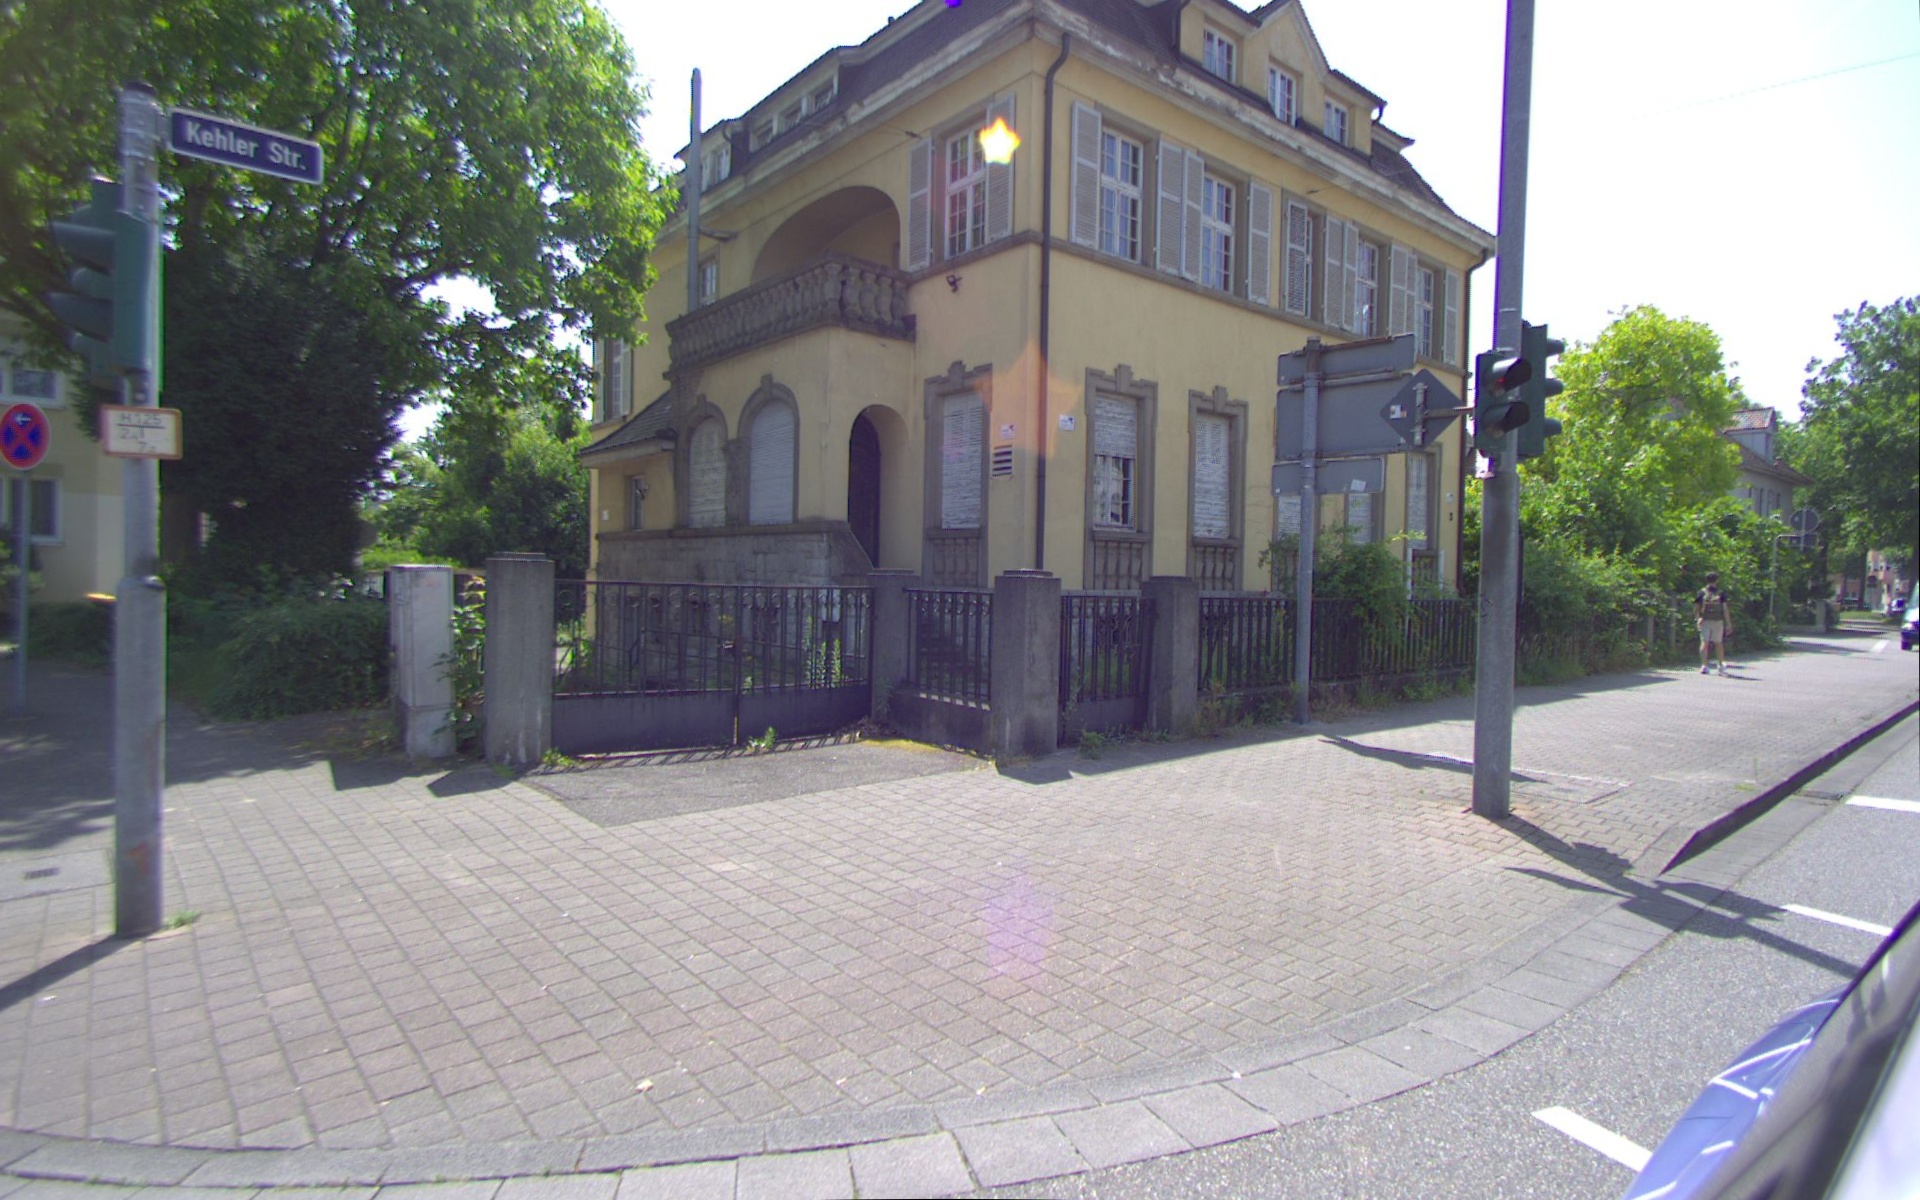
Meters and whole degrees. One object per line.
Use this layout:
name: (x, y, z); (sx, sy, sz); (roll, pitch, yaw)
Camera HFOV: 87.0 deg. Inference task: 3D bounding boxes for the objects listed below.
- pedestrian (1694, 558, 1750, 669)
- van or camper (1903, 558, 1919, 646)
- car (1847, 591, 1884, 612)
pedestrian: (13.724, 0.234, 18.227); (0.731, 1.942, 0.620); (0, 2, -41)
van or camper: (31.418, 0.071, 31.274); (5.735, 2.613, 2.166); (-1, 2, -35)
car: (73.901, 0.086, 82.671); (1.816, 1.705, 3.949); (0, 1, 36)
